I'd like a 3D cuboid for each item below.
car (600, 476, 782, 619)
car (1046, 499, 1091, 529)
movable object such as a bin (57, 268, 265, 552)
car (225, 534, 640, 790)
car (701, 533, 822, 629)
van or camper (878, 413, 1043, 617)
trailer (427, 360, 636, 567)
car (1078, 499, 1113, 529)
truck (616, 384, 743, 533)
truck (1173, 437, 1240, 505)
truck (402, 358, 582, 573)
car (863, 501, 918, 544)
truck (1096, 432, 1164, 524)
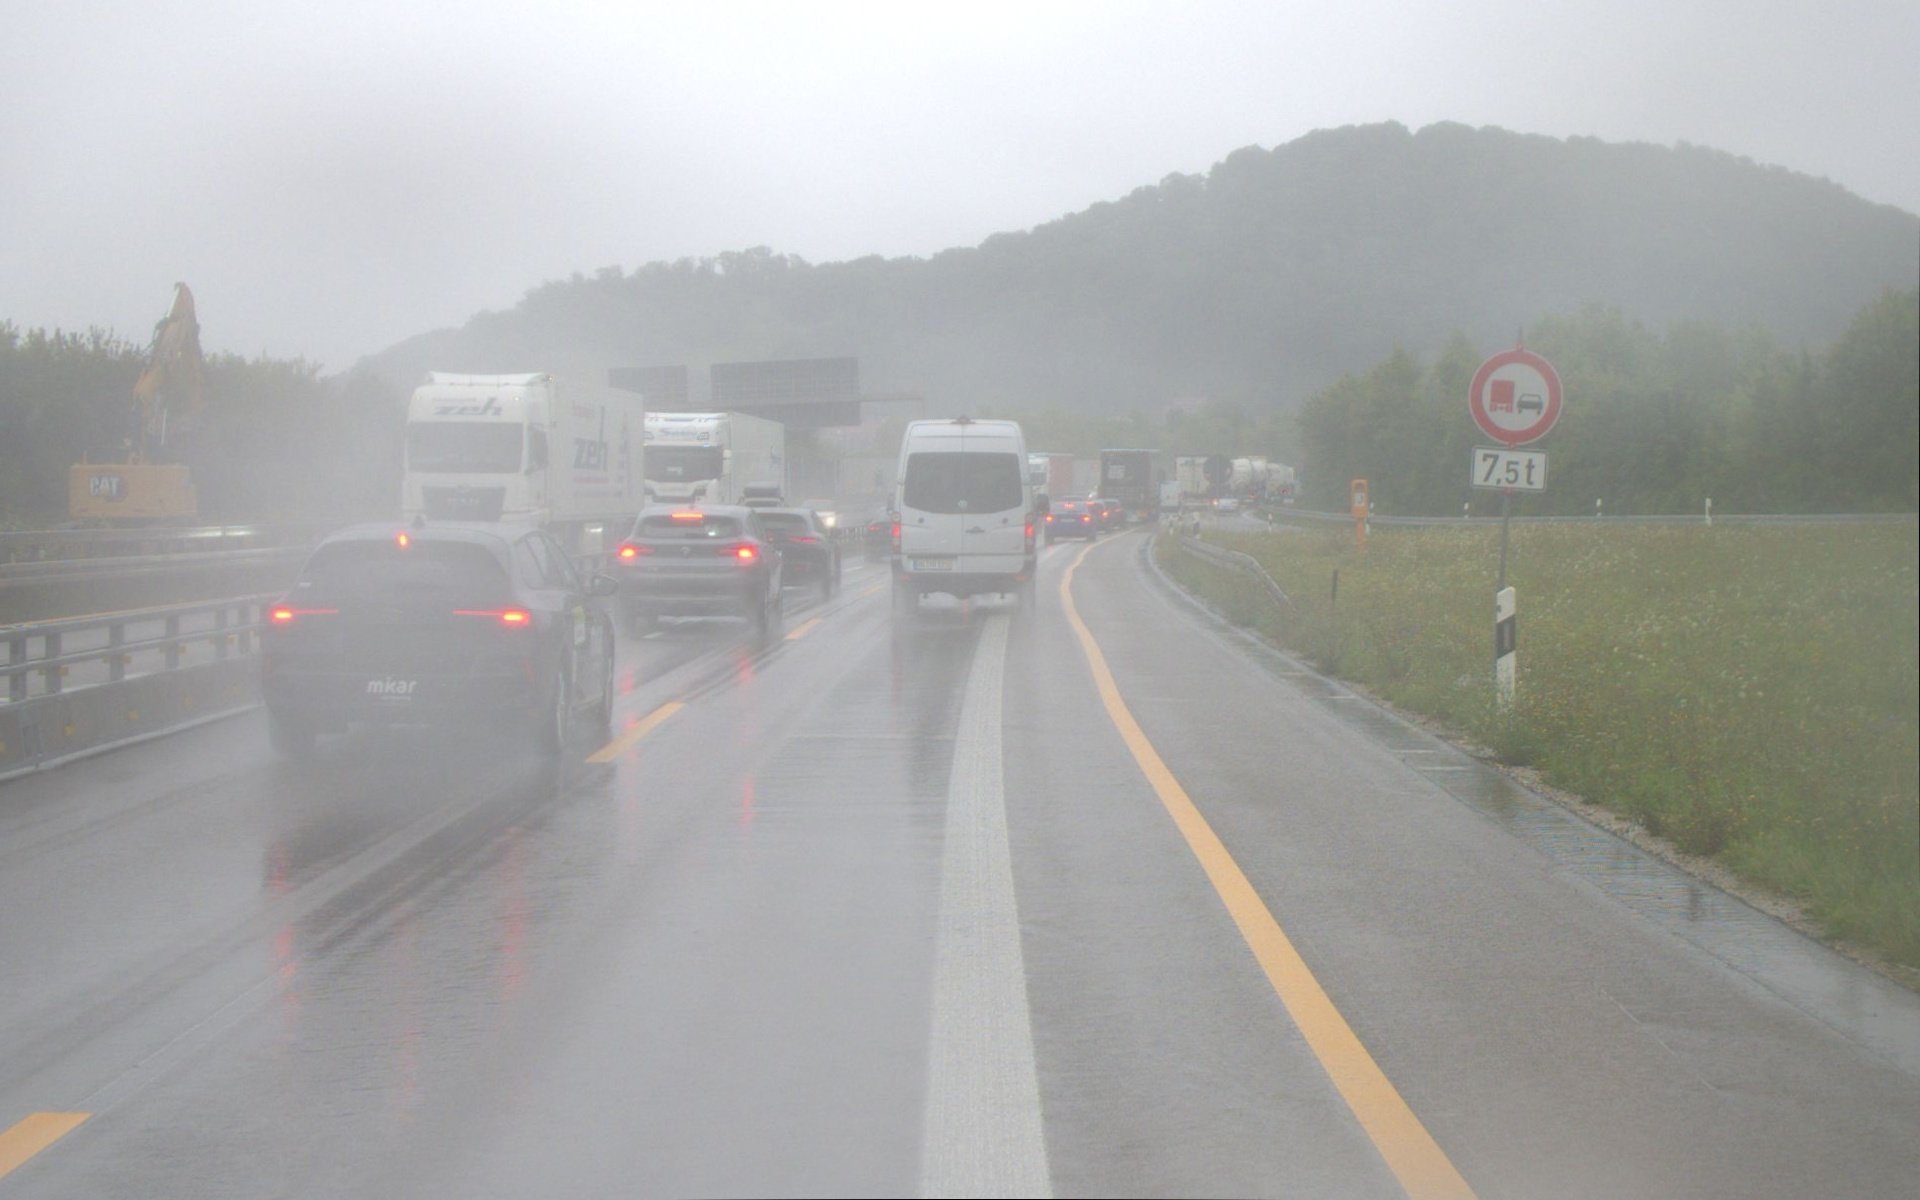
[{"bbox_3d":[-3.209,-0.659,41.729,1.867,1.653,3.988,0,2,0],"label":"car"},{"bbox_3d":[3.906,-3.103,123.954,1.384,1.074,3.123,0,2,-2],"label":"car"},{"bbox_3d":[-23.843,-5.560,103.089,3.597,8.115,8.307,1,1,4],"label":"movable object such as a bin"},{"bbox_3d":[-3.265,0.310,22.220,1.939,1.422,4.760,1,2,0],"label":"car"},{"bbox_3d":[-3.252,-0.341,56.819,1.852,1.495,4.001,0,2,-1],"label":"car"},{"bbox_3d":[-0.042,-1.199,48.133,2.139,2.712,4.649,0,1,-2],"label":"van or camper"},{"bbox_3d":[-8.981,-2.928,73.602,2.494,4.035,12.588,-1,2,2],"label":"trailer"},{"bbox_3d":[5.782,-3.666,146.813,1.384,1.252,3.123,0,2,0],"label":"car"},{"bbox_3d":[-7.924,-4.038,98.006,2.883,4.087,6.927,0,2,1],"label":"truck"},{"bbox_3d":[17.717,-9.283,246.760,3.930,4.768,9.904,1,3,9],"label":"truck"},{"bbox_3d":[-9.153,-2.660,67.828,2.483,4.017,6.449,1,2,2],"label":"truck"},{"bbox_3d":[-1.751,-1.961,86.810,1.262,1.074,3.255,0,2,1],"label":"car"},{"bbox_3d":[9.249,-6.522,185.953,3.321,4.768,9.906,1,1,4],"label":"truck"}]
